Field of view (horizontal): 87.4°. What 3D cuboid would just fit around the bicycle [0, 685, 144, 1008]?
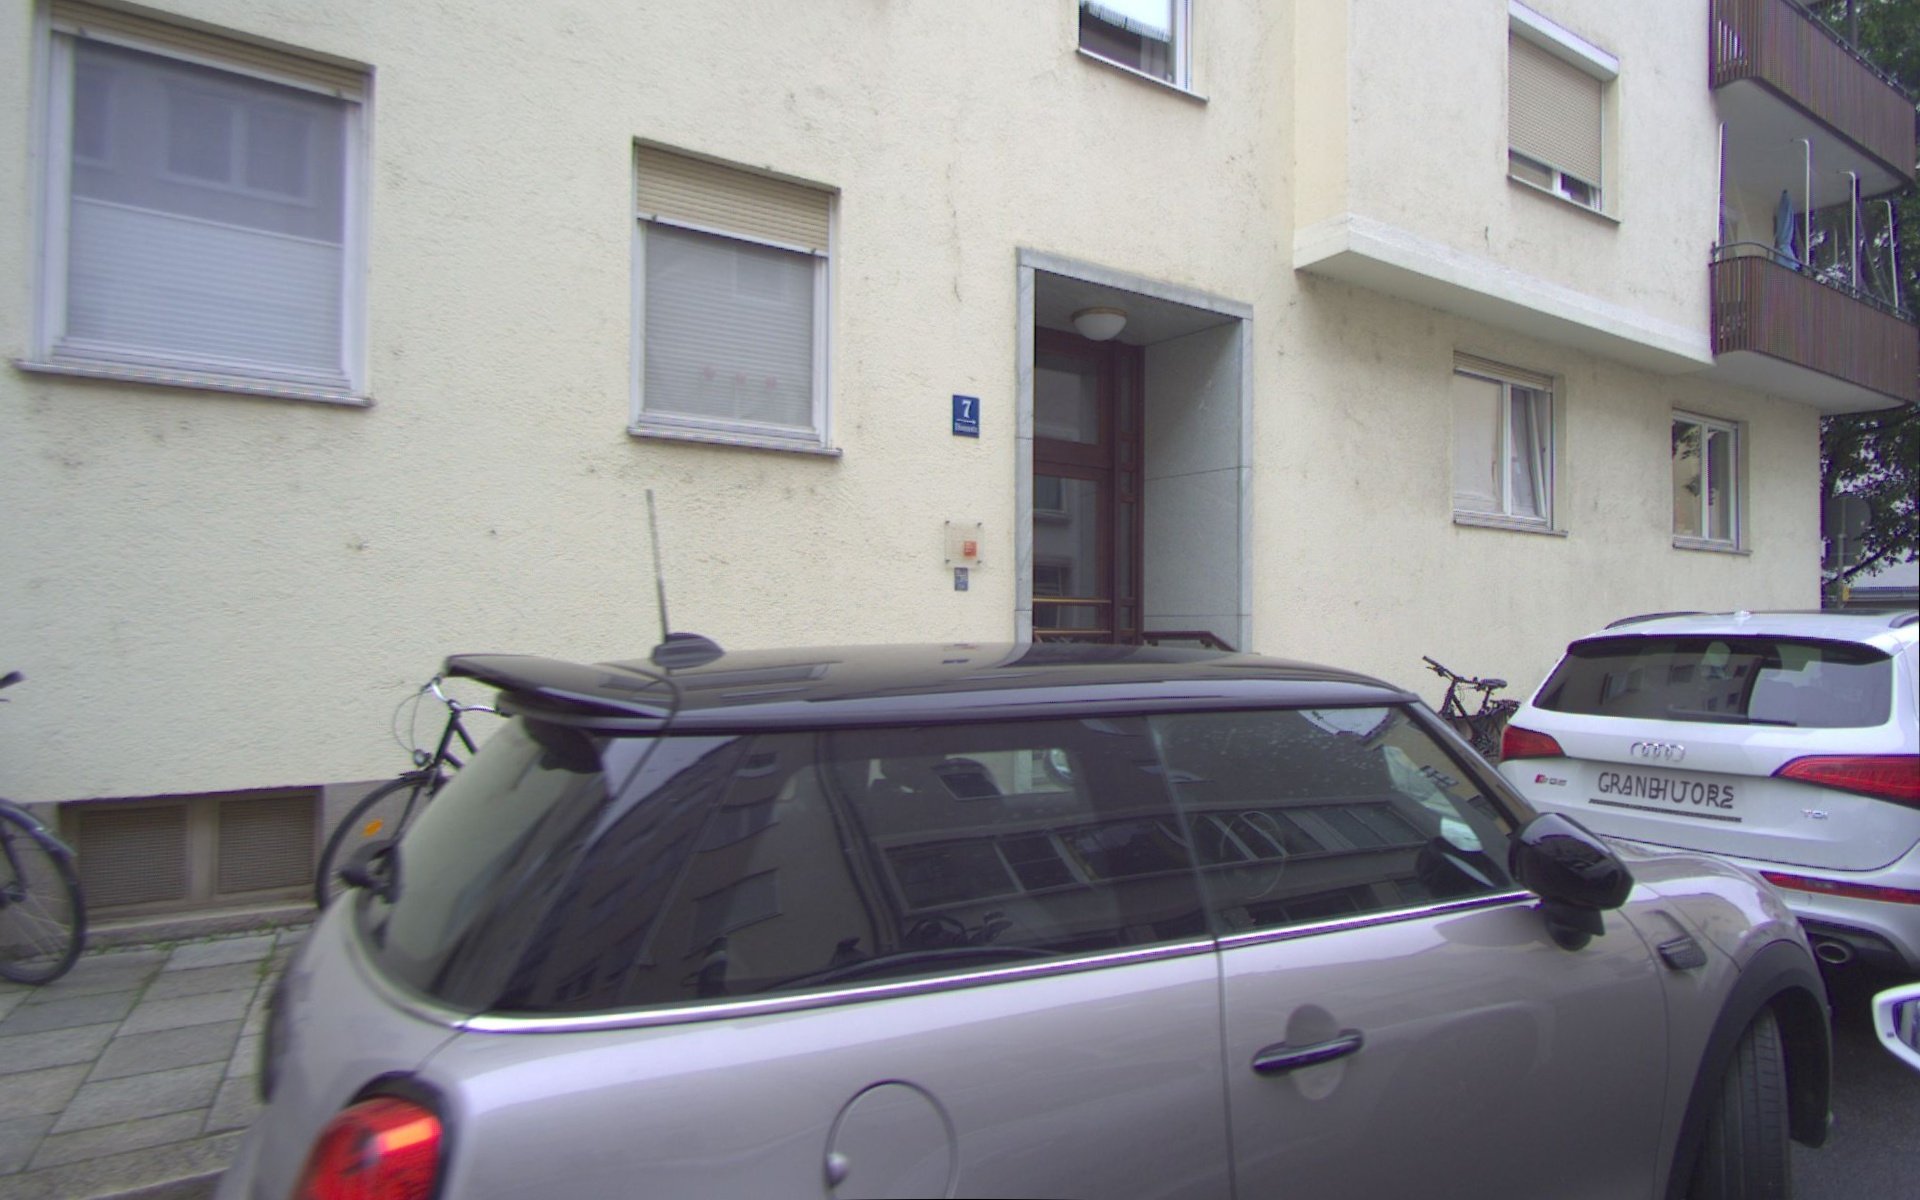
[{"bbox_3d":[-3.987,0.858,3.399,1.792,1.041,0.692,1,0,-30],"label":"bicycle"}]

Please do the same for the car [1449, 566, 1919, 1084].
[{"bbox_3d":[4.603,0.827,5.118,4.318,1.697,1.757,2,-3,-31],"label":"car"}]

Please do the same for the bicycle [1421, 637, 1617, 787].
[{"bbox_3d":[4.813,0.918,8.627,1.768,1.176,0.642,2,-3,-30],"label":"bicycle"}]

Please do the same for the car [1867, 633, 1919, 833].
[{"bbox_3d":[9.409,1.013,8.129,4.370,1.502,1.758,1,-2,-29],"label":"car"}]

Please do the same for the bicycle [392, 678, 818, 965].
[{"bbox_3d":[-1.650,0.939,4.776,1.794,1.041,0.726,1,0,-33],"label":"bicycle"}]

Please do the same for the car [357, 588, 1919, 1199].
[{"bbox_3d":[0.729,0.800,2.469,3.758,1.454,1.644,2,-3,-30],"label":"car"}]
